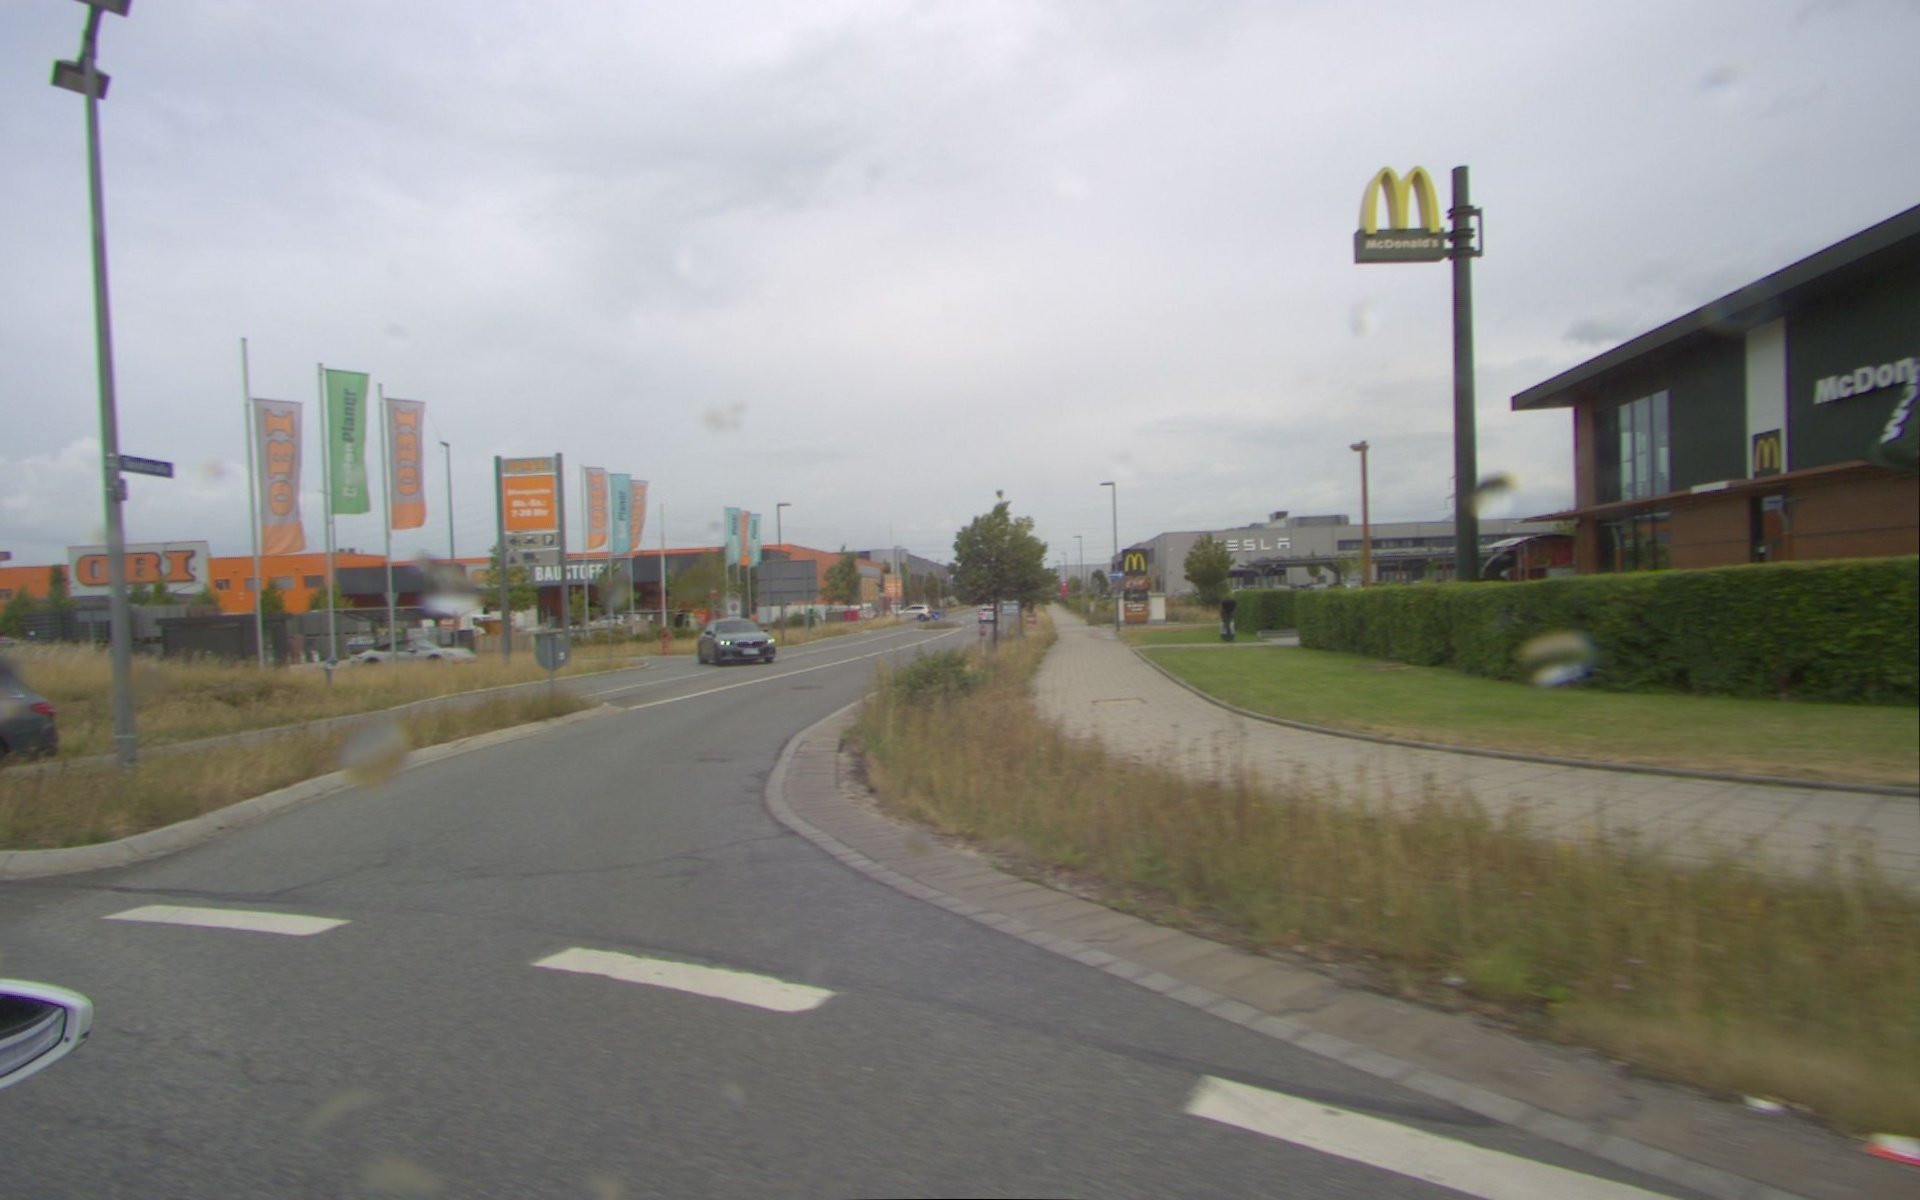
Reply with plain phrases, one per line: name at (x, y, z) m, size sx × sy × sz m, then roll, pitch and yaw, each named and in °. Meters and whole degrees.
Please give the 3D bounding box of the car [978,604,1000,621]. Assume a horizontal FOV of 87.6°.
car at (2.599, 1.085, 88.773) m, size 1.778 × 1.483 × 4.000 m, roll 1°, pitch 0°, yaw 4°

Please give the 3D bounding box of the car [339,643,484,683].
car at (-21.256, 2.418, 38.919) m, size 4.665 × 1.421 × 1.744 m, roll -1°, pitch -1°, yaw 1°

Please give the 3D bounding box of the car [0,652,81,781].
car at (-12.016, 1.289, 9.956) m, size 1.893 × 1.421 × 4.684 m, roll -1°, pitch -2°, yaw 15°

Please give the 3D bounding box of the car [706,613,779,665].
car at (-7.451, 1.347, 33.973) m, size 1.965 × 1.526 × 4.676 m, roll -2°, pitch -2°, yaw -18°

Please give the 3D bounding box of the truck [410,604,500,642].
truck at (-37.880, 1.723, 75.235) m, size 5.442 × 2.515 × 2.441 m, roll -3°, pitch -2°, yaw 0°

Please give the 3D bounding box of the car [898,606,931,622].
car at (-4.777, 1.502, 104.407) m, size 3.100 × 1.466 × 1.408 m, roll -4°, pitch -2°, yaw 20°
